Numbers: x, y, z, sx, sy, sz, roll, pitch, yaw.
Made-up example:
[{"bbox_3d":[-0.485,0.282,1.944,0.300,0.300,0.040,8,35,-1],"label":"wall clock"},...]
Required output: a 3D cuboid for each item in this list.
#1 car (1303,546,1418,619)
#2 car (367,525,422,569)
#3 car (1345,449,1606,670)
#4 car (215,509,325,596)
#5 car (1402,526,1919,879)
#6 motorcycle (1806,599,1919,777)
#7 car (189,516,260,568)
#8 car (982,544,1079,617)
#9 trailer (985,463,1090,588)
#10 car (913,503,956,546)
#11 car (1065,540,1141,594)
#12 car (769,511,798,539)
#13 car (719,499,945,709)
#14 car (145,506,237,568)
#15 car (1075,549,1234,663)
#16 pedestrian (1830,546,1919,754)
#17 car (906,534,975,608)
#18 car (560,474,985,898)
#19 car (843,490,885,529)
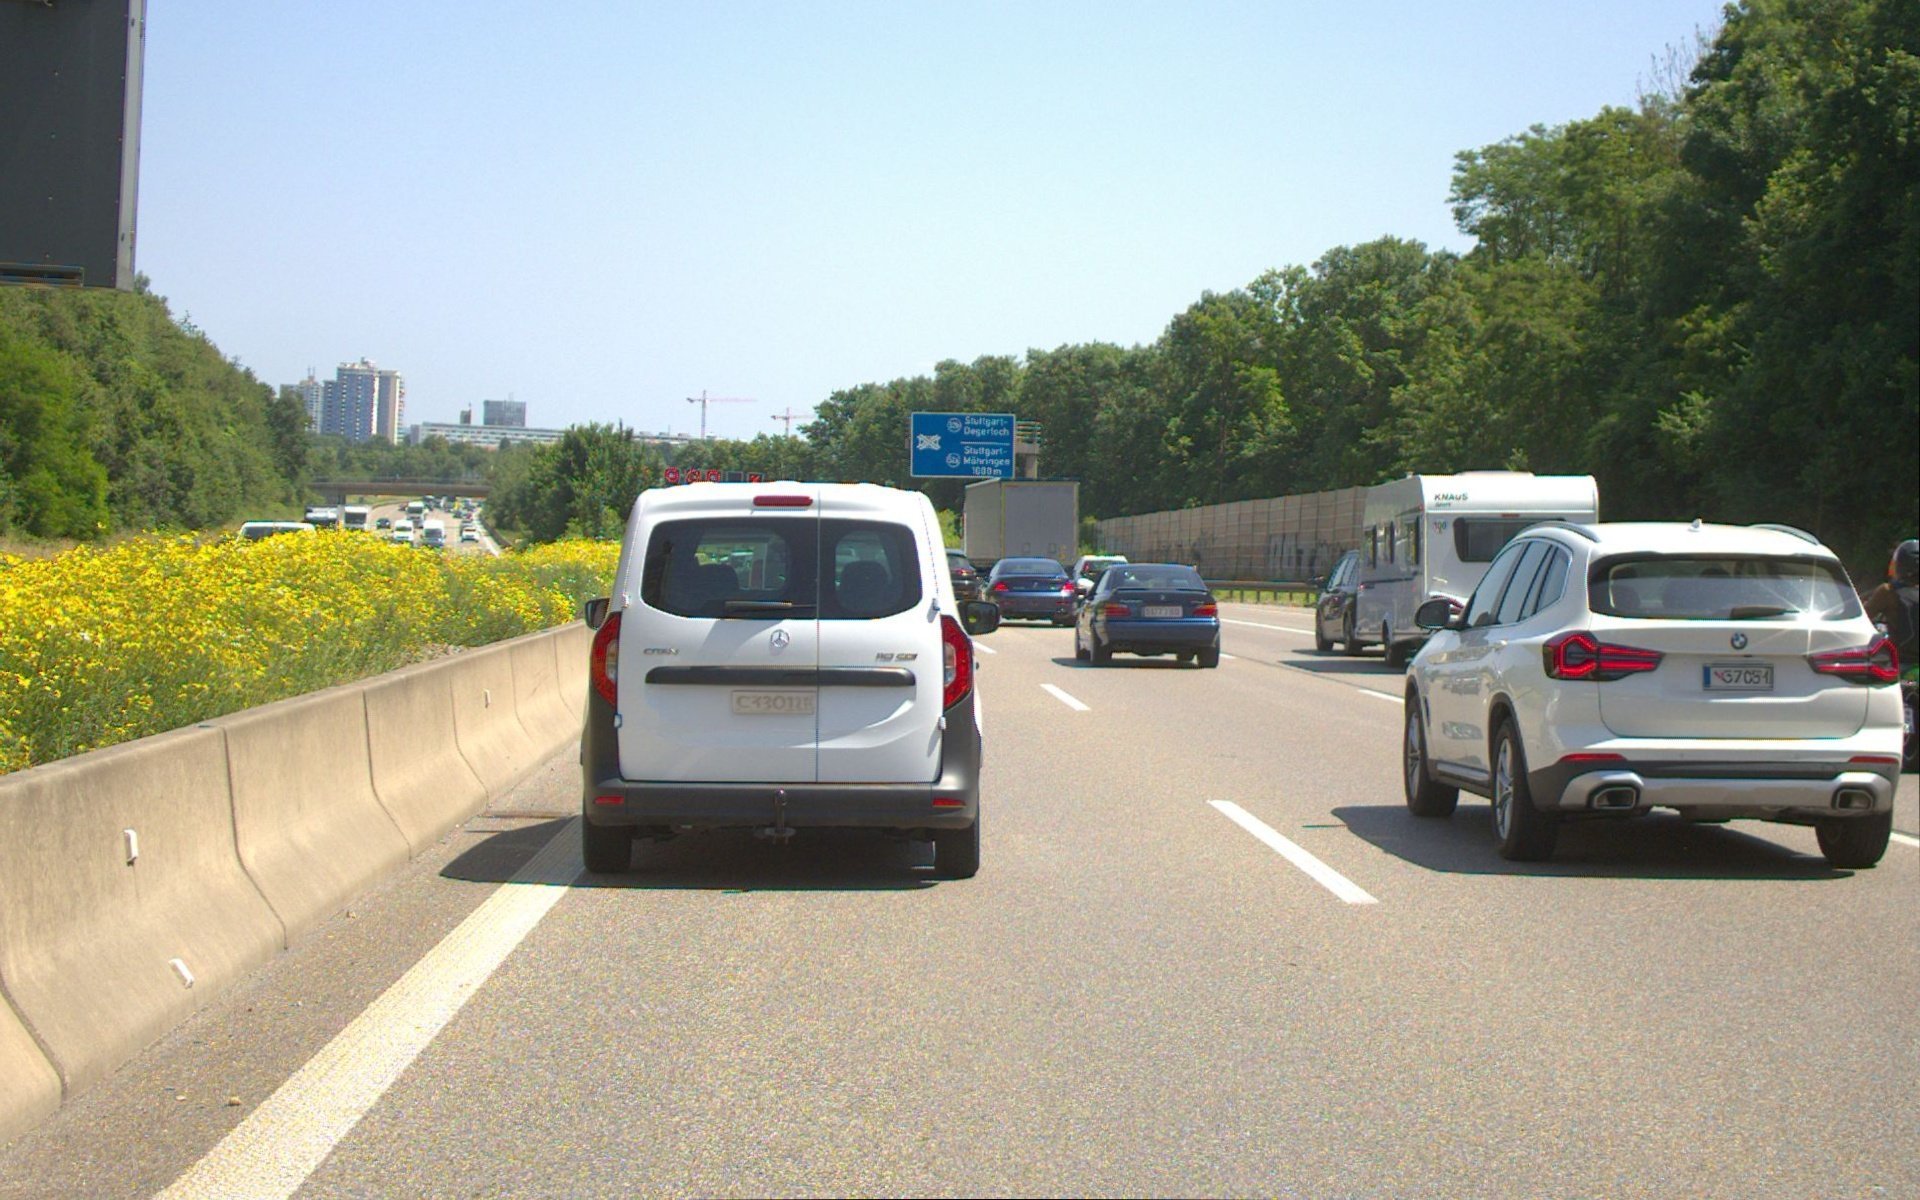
[{"bbox_3d":[8.175,-0.385,70.470,1.824,1.419,4.000,1,1,-1],"label":"car"},{"bbox_3d":[-22.982,-2.153,139.747,1.796,1.711,4.001,1,1,-4],"label":"car"},{"bbox_3d":[6.896,-0.569,46.748,2.479,2.756,6.220,1,1,-1],"label":"car"},{"bbox_3d":[-16.666,-1.157,83.238,1.993,2.007,4.001,1,1,-2],"label":"car"},{"bbox_3d":[3.521,0.447,17.781,1.871,1.603,3.879,1,1,-1],"label":"car"},{"bbox_3d":[6.839,0.620,25.112,0.859,1.177,2.276,2,2,4],"label":"motorcycle"},{"bbox_3d":[-26.134,-2.067,122.294,1.993,1.755,4.001,1,1,-5],"label":"car"},{"bbox_3d":[1.403,-0.423,70.219,1.824,1.419,4.000,1,1,-1],"label":"car"},{"bbox_3d":[2.541,-2.489,116.004,3.082,3.972,10.324,1,1,-1],"label":"trailer"},{"bbox_3d":[-1.221,-3.573,163.128,1.993,2.007,4.000,1,1,-1],"label":"car"},{"bbox_3d":[3.893,-0.916,94.001,1.824,1.419,4.000,1,1,-1],"label":"car"},{"bbox_3d":[-13.181,-5.620,257.148,1.993,2.007,4.000,1,1,-1],"label":"car"},{"bbox_3d":[-1.178,-0.003,32.934,1.993,1.853,4.000,1,1,-1],"label":"car"},{"bbox_3d":[-22.486,-1.851,100.660,1.993,1.749,4.001,1,1,-3],"label":"car"},{"bbox_3d":[2.559,0.043,46.105,1.824,1.419,4.000,1,1,-1],"label":"car"},{"bbox_3d":[6.836,0.359,24.969,0.851,1.473,0.638,2,1,4],"label":"pedestrian"},{"bbox_3d":[-0.550,-0.817,94.529,1.824,1.982,4.000,1,1,-1],"label":"car"},{"bbox_3d":[-0.857,0.335,16.848,1.802,1.802,4.000,1,1,-1],"label":"car"},{"bbox_3d":[-5.031,-4.721,180.239,1.993,2.007,4.001,1,1,-4],"label":"car"}]
